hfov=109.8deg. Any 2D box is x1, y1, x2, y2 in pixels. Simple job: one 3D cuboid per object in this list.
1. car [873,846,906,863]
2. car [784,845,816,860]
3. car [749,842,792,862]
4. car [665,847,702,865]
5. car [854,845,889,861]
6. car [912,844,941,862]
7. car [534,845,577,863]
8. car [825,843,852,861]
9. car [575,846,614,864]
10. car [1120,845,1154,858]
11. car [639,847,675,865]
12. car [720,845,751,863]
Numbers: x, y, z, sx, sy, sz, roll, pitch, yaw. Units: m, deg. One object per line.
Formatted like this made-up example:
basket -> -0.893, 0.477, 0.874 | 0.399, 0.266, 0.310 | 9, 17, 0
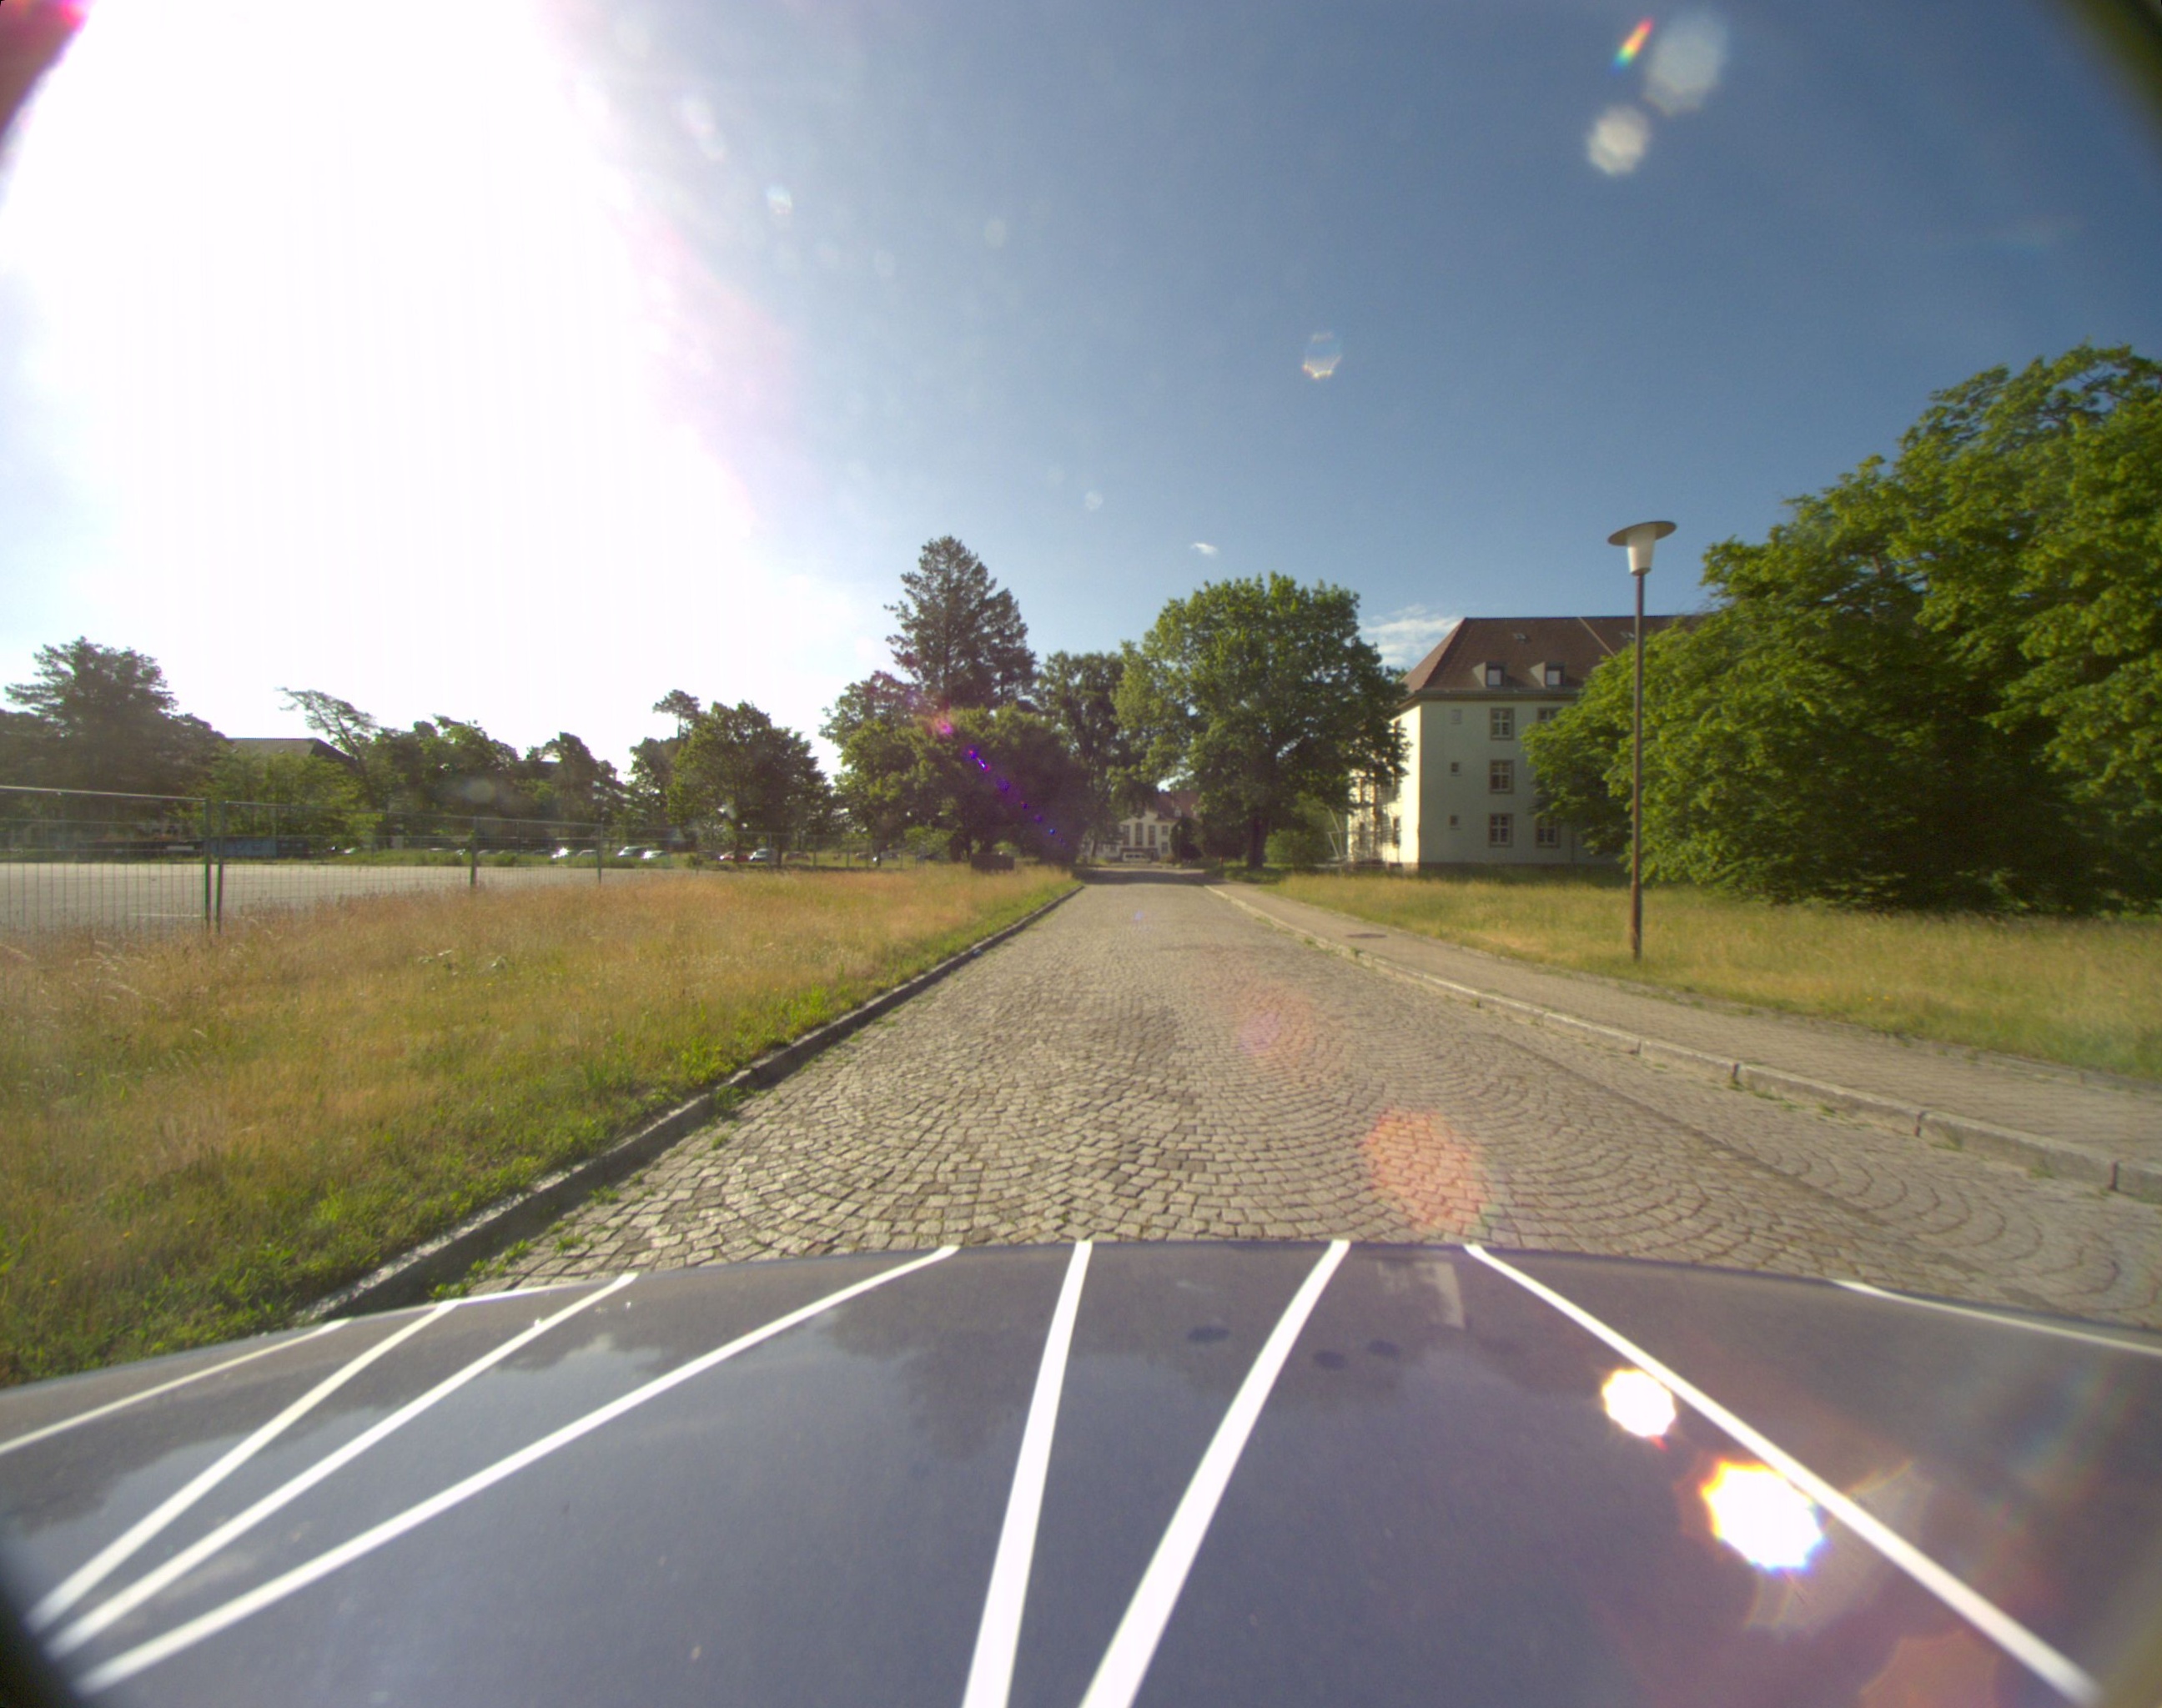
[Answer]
car -> -21.339, 0.023, 84.911 | 2.245, 1.828, 4.350 | 1, 1, 5
car -> -31.688, -0.230, 85.842 | 1.998, 1.642, 4.001 | 1, 1, 4
car -> -35.408, -0.247, 86.804 | 1.998, 2.002, 6.034 | -1, 2, 5
car -> -45.860, 0.218, 87.812 | 1.998, 2.002, 4.000 | 0, 1, 3
car -> -23.634, -0.138, 85.891 | 2.244, 1.828, 4.352 | 1, 1, 8
car -> -17.092, -0.138, 84.349 | 2.245, 2.002, 4.349 | 1, 1, 1
car -> -60.595, -0.041, 87.701 | 1.998, 2.002, 4.001 | 0, 1, 3
car -> -27.519, -0.242, 86.444 | 1.741, 2.002, 3.620 | 1, 1, 4
car -> -55.966, 0.056, 87.415 | 1.741, 2.002, 3.853 | 1, 1, 6
car -> 10.748, -0.418, 146.287 | 6.442, 2.452, 2.464 | 1, 1, 5
car -> -48.238, 0.208, 86.566 | 1.741, 2.002, 3.852 | 1, 1, 4
car -> -39.222, 0.017, 86.315 | 1.741, 2.002, 3.620 | 1, 1, 4
